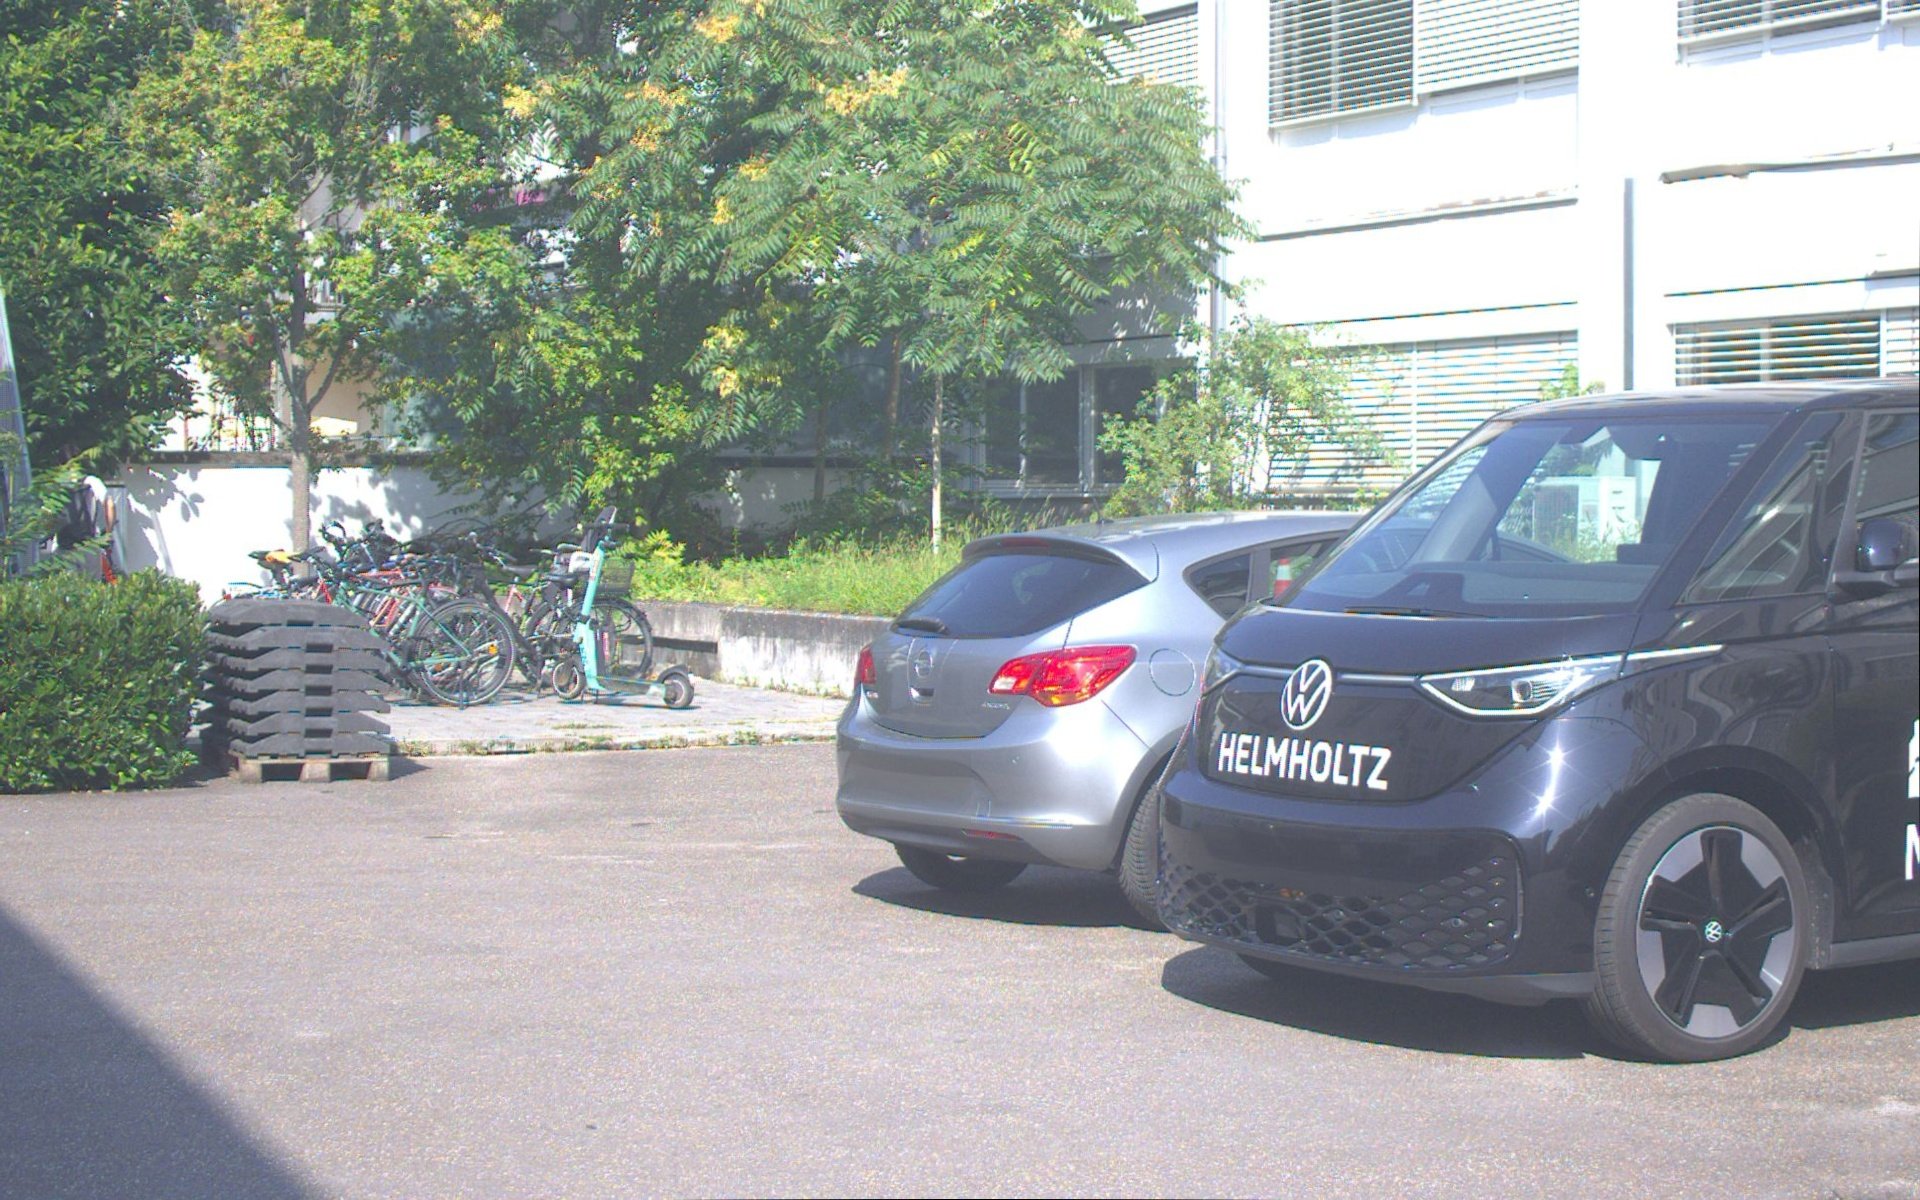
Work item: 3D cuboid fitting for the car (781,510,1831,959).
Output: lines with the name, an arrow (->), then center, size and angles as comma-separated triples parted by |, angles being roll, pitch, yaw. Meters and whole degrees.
car -> 1.402, 0.405, 13.297 | 3.897, 1.461, 1.663 | -1, 3, -35

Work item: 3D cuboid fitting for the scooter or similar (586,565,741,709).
scooter or similar -> -1.986, 0.239, 22.981 | 0.998, 0.921, 0.360 | 2, 2, 30

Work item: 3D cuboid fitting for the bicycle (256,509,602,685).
bicycle -> -3.852, -0.016, 25.005 | 2.410, 1.242, 0.526 | 0, 2, -22

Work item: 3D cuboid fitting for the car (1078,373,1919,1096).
car -> 2.709, 0.275, 10.730 | 4.335, 1.852, 1.915 | -1, 3, -31

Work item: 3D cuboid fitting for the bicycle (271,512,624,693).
bicycle -> -3.636, 0.021, 24.446 | 2.410, 1.242, 0.526 | 0, 2, -22

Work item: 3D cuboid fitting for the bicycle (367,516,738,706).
bicycle -> -2.735, 0.076, 23.159 | 2.410, 1.242, 0.526 | 0, 2, -22

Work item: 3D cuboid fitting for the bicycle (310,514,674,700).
bicycle -> -3.215, 0.049, 23.700 | 2.410, 1.242, 0.526 | 0, 2, -22

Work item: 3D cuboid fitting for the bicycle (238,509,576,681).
bicycle -> -4.112, -0.033, 25.633 | 2.410, 1.242, 0.526 | 0, 2, -22

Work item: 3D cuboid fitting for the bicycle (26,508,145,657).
bicycle -> -7.184, -0.167, 28.299 | 0.488, 1.139, 1.994 | 0, 3, -1

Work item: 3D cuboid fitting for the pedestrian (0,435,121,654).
pedestrian -> -7.406, -0.462, 28.255 | 0.858, 1.765, 0.611 | 1, 1, 0
